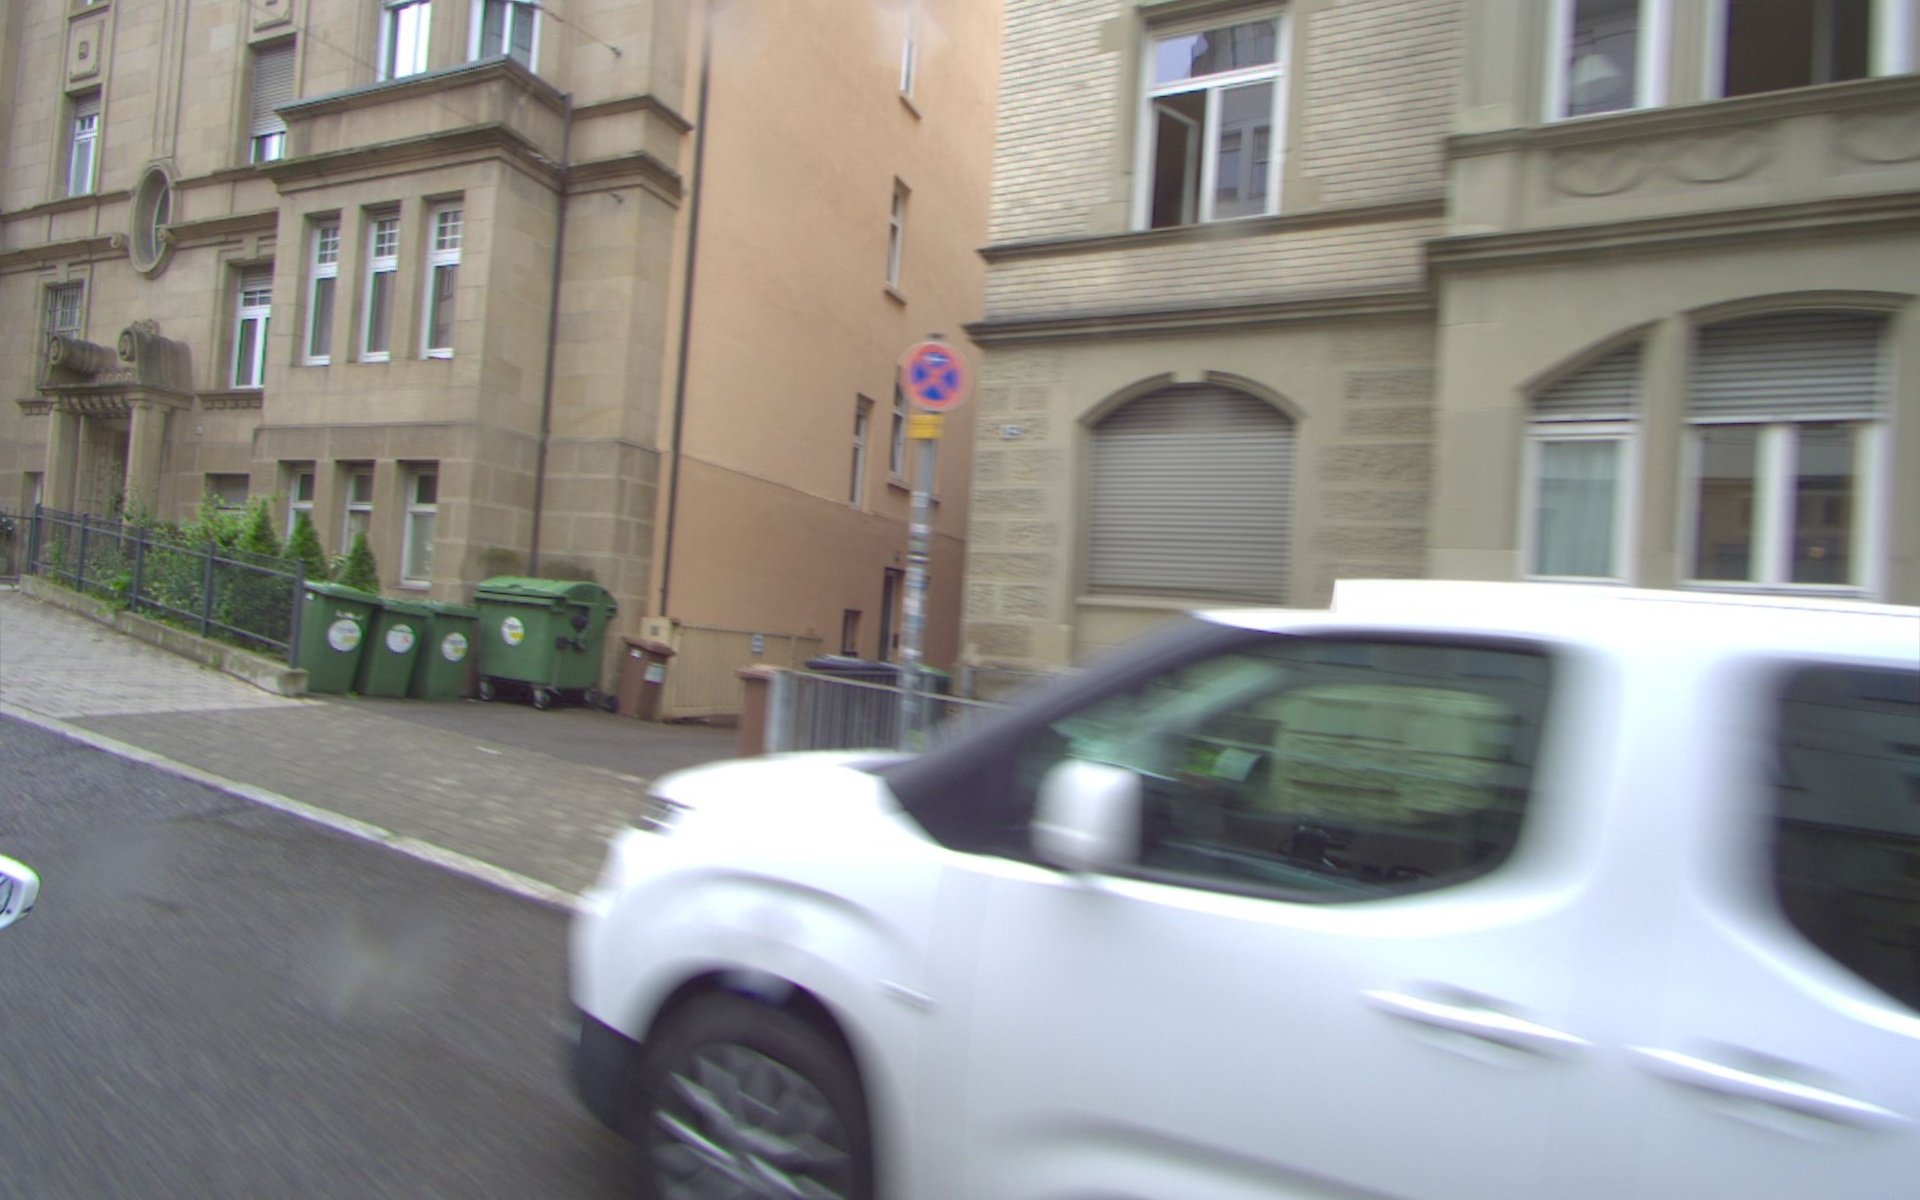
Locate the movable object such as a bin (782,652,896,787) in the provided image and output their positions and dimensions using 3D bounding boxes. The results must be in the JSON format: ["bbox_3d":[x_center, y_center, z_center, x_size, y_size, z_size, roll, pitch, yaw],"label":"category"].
[{"bbox_3d":[-1.040,1.031,8.664,0.653,1.041,0.529,6,-4,33],"label":"movable object such as a bin"}]

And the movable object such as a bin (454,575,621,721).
[{"bbox_3d":[-4.812,0.556,11.499,1.256,1.446,0.976,6,-5,23],"label":"movable object such as a bin"}]

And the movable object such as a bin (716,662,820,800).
[{"bbox_3d":[-1.444,0.967,7.578,0.527,0.931,0.427,8,2,23],"label":"movable object such as a bin"}]

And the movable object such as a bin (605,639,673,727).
[{"bbox_3d":[-3.805,0.987,11.940,0.510,0.952,0.395,6,-4,23],"label":"movable object such as a bin"}]

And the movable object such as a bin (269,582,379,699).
[{"bbox_3d":[-6.217,0.400,9.848,0.593,1.036,0.540,6,-4,23],"label":"movable object such as a bin"}]

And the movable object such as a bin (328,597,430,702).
[{"bbox_3d":[-5.986,0.515,10.377,0.593,0.978,0.540,6,-4,23],"label":"movable object such as a bin"}]

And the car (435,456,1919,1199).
[{"bbox_3d":[1.161,0.855,2.383,4.383,1.785,1.804,7,-3,25],"label":"car"}]

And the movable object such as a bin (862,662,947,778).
[{"bbox_3d":[-0.555,1.211,10.197,0.545,1.072,0.498,6,-4,26],"label":"movable object such as a bin"}]

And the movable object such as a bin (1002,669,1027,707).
[{"bbox_3d":[1.639,2.616,30.074,0.544,1.053,0.563,4,3,23],"label":"movable object such as a bin"}]

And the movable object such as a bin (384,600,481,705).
[{"bbox_3d":[-5.746,0.578,10.974,0.593,1.036,0.540,6,-4,23],"label":"movable object such as a bin"}]

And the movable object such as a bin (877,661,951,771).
[{"bbox_3d":[-0.494,1.261,10.928,0.469,1.113,0.520,6,-4,26],"label":"movable object such as a bin"}]

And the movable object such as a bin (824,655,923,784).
[{"bbox_3d":[-0.788,1.097,9.236,0.598,1.072,0.501,6,-4,26],"label":"movable object such as a bin"}]
